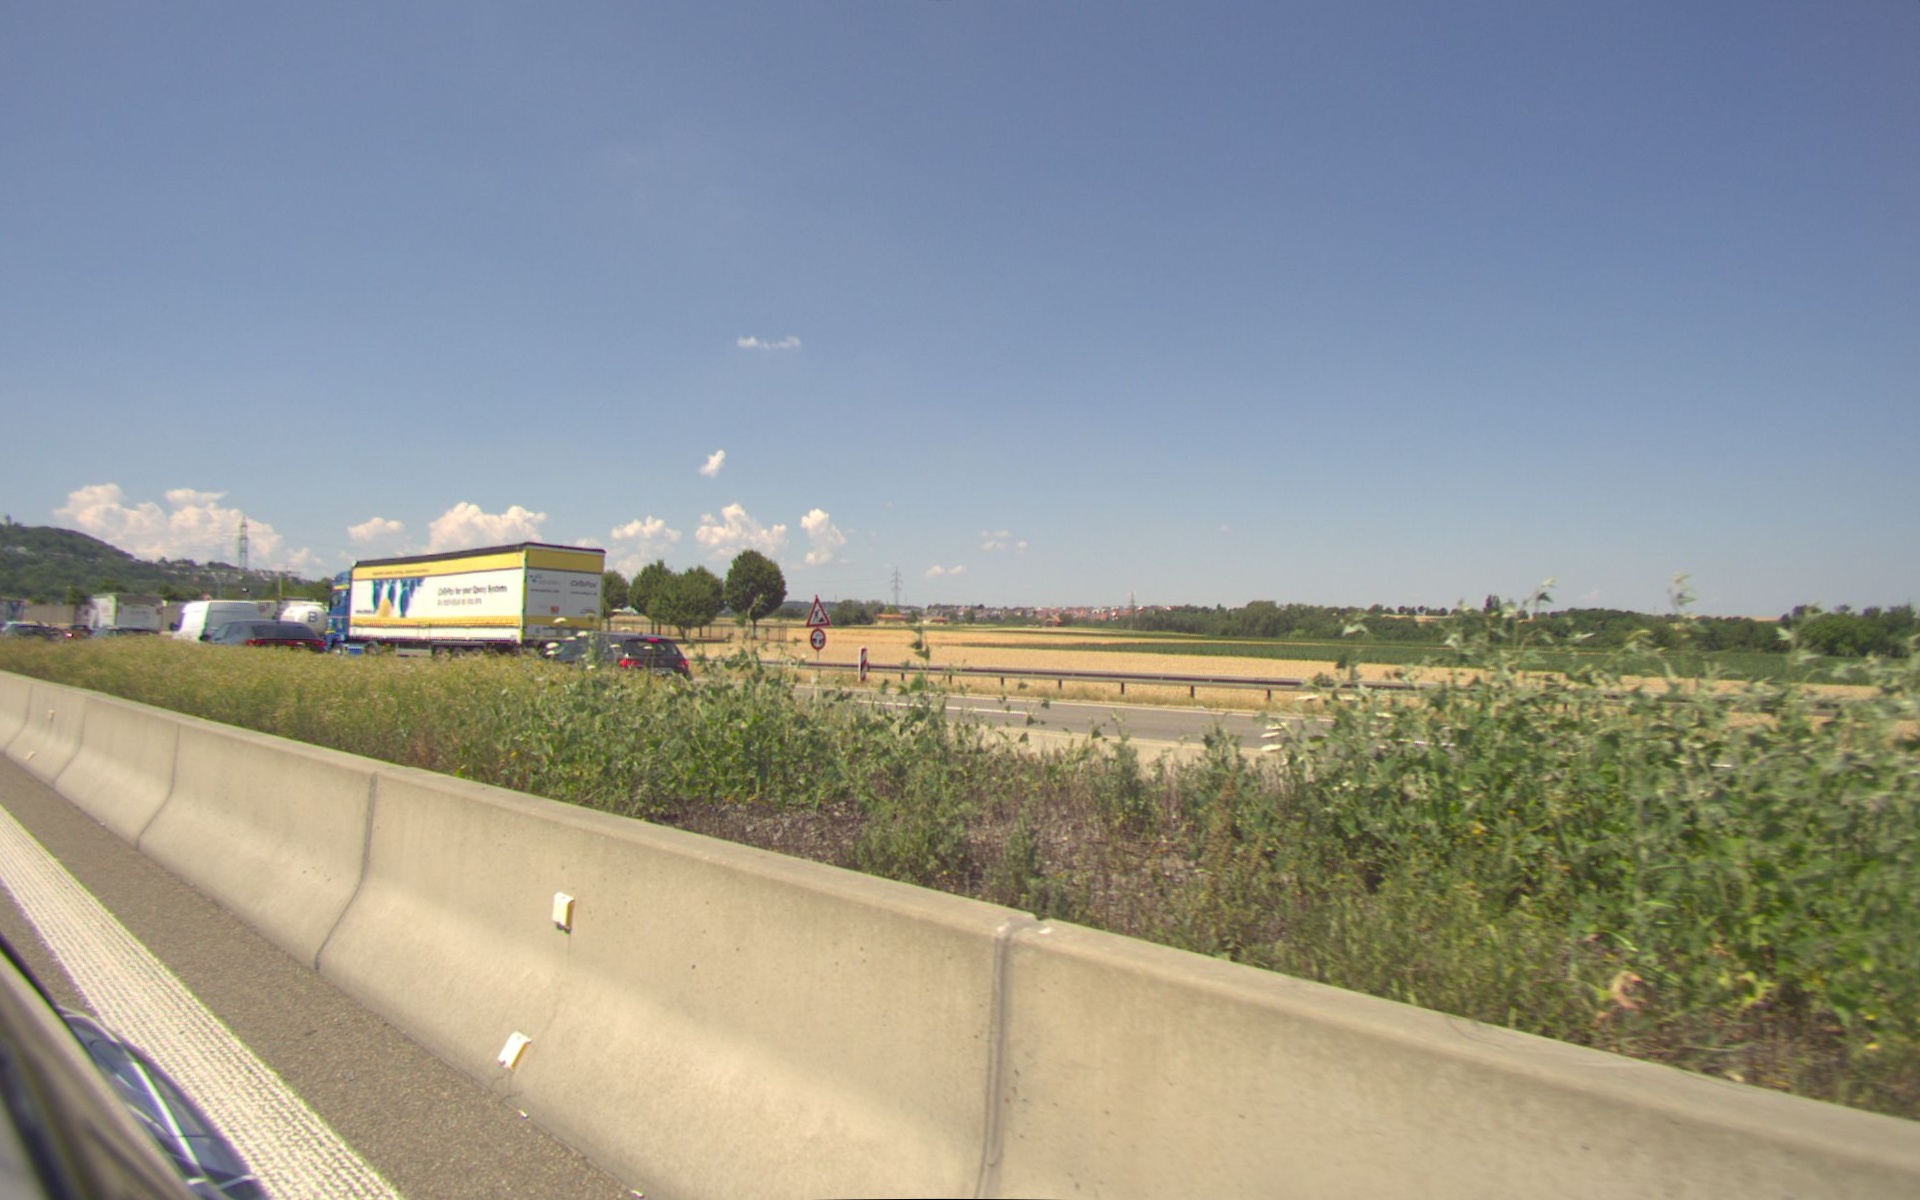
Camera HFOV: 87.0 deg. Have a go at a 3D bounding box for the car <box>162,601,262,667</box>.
[{"bbox_3d":[-30.586,1.395,41.306,5.808,2.520,2.025,-2,-3,41],"label":"car"}]

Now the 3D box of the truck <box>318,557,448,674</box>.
[{"bbox_3d":[-22.167,0.641,38.832,4.838,4.160,2.781,-2,-3,41],"label":"truck"}]

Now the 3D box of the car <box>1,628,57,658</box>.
[{"bbox_3d":[-47.879,2.184,52.006,4.530,1.480,1.581,-2,-3,41],"label":"car"}]

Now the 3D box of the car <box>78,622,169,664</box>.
[{"bbox_3d":[-30.443,1.514,36.784,4.926,1.345,1.761,0,0,41],"label":"car"}]

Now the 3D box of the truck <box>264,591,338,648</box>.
[{"bbox_3d":[-48.550,1.542,74.307,2.862,3.806,13.310,4,-4,-39],"label":"truck"}]

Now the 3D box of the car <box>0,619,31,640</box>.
[{"bbox_3d":[-76.504,2.411,81.788,4.041,1.635,1.543,-1,-3,40],"label":"car"}]

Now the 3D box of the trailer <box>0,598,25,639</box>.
[{"bbox_3d":[-110.236,2.111,116.052,12.986,4.408,2.862,-1,-4,41],"label":"trailer"}]

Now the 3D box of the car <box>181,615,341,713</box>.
[{"bbox_3d":[-16.092,1.389,23.196,4.684,2.029,1.972,-2,-2,42],"label":"car"}]

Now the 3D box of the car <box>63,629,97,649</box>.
[{"bbox_3d":[-71.465,3.149,82.200,3.935,1.527,1.546,-1,-2,41],"label":"car"}]

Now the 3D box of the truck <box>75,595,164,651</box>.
[{"bbox_3d":[-60.371,1.671,72.509,13.283,3.637,2.765,-1,-4,42],"label":"truck"}]

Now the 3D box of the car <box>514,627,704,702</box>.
[{"bbox_3d":[-7.293,1.245,20.811,4.431,1.276,1.729,0,0,41],"label":"car"}]

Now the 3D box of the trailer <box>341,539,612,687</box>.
[{"bbox_3d":[-16.799,0.547,34.189,14.120,4.160,2.781,-2,-3,41],"label":"trailer"}]

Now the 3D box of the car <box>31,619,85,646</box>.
[{"bbox_3d":[-60.476,2.198,67.822,5.517,1.723,1.867,-1,-4,40],"label":"car"}]
